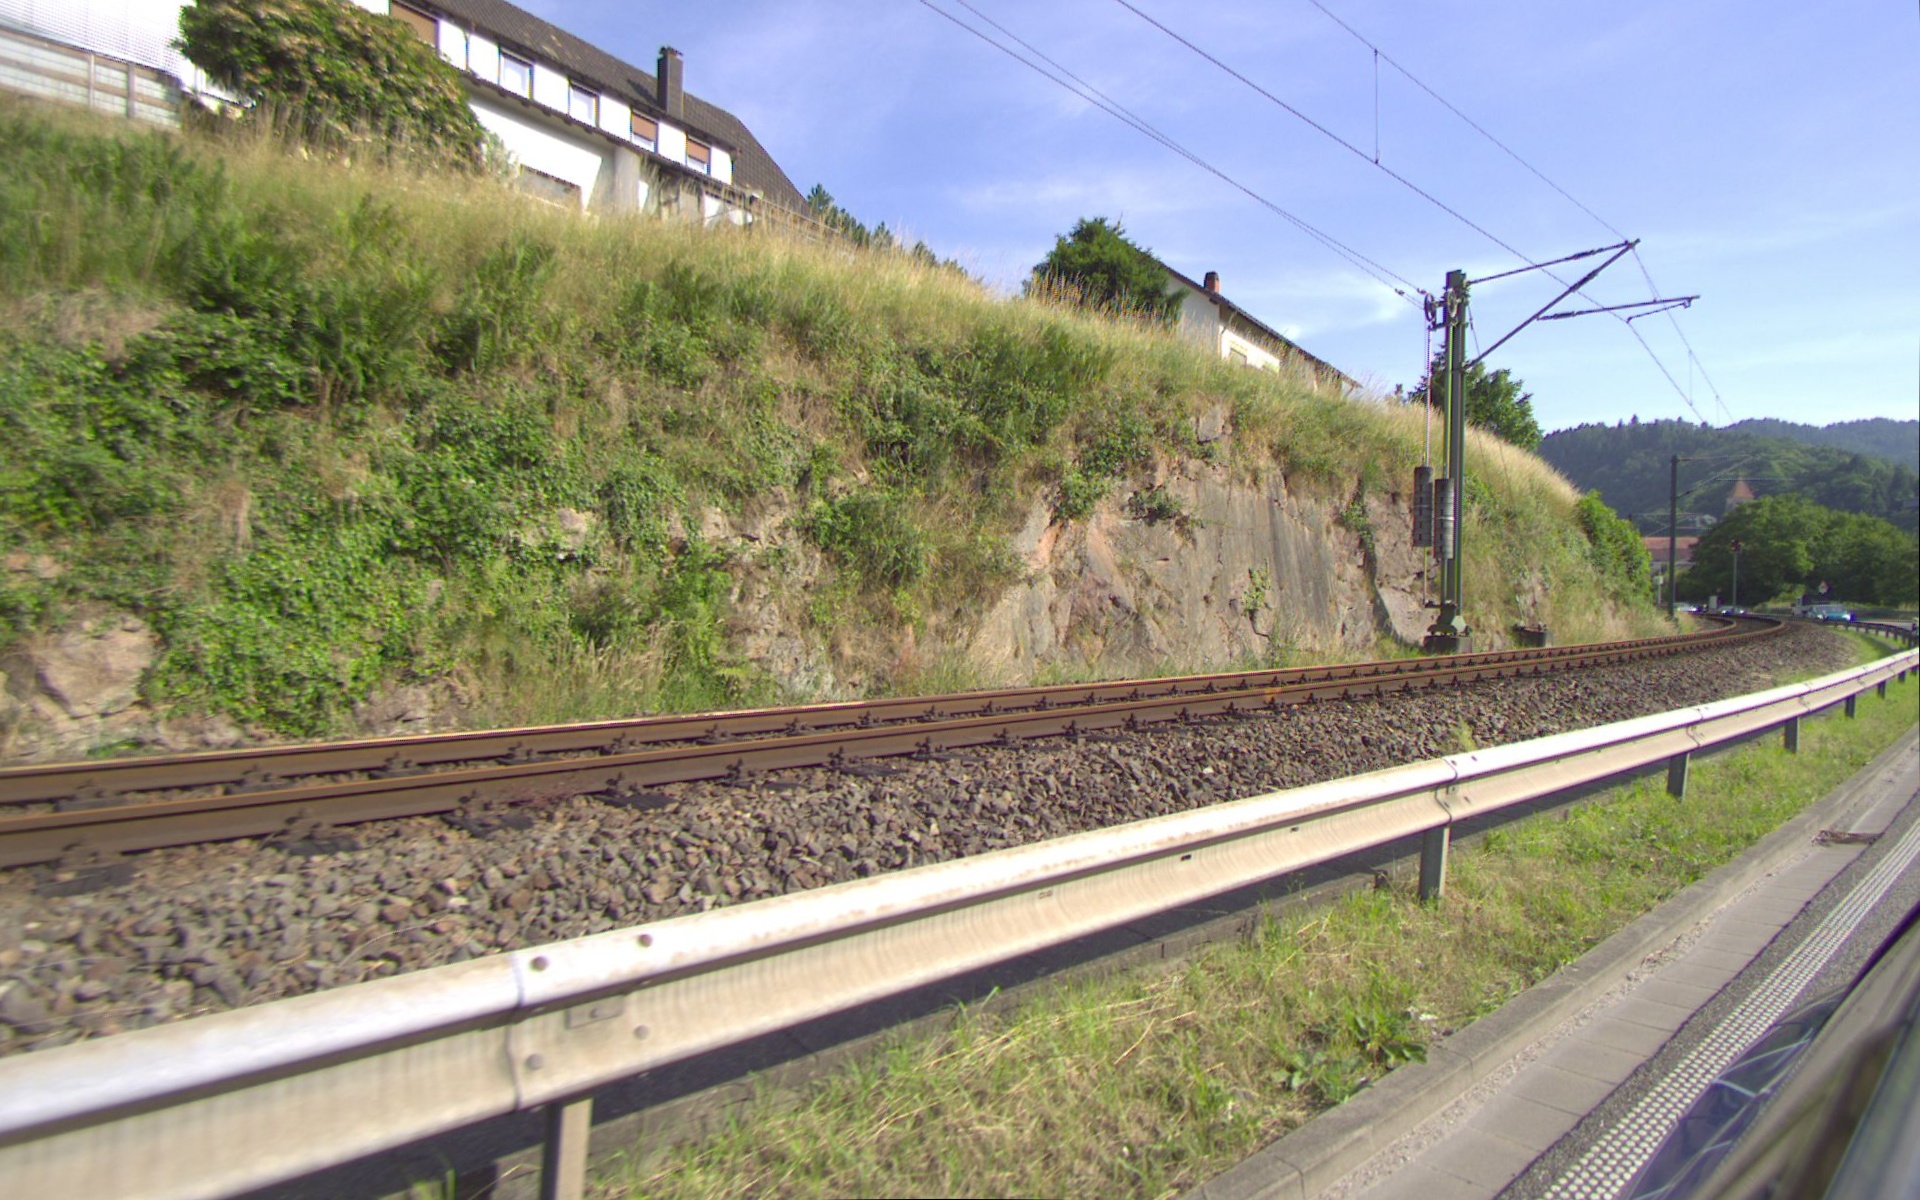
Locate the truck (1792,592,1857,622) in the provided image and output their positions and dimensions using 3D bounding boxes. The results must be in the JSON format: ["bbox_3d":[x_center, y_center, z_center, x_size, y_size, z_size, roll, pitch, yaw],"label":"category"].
[{"bbox_3d":[74.678,0.625,87.525,2.138,2.396,6.695,-2,-2,22],"label":"truck"}]

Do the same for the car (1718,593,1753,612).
[{"bbox_3d":[75.546,0.208,98.632,1.867,1.767,4.141,0,0,26],"label":"car"}]

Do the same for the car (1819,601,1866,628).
[{"bbox_3d":[61.258,0.965,70.319,1.872,1.767,4.130,0,0,32],"label":"car"}]

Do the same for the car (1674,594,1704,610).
[{"bbox_3d":[82.461,0.158,114.544,1.865,1.767,4.147,0,0,22],"label":"car"}]
